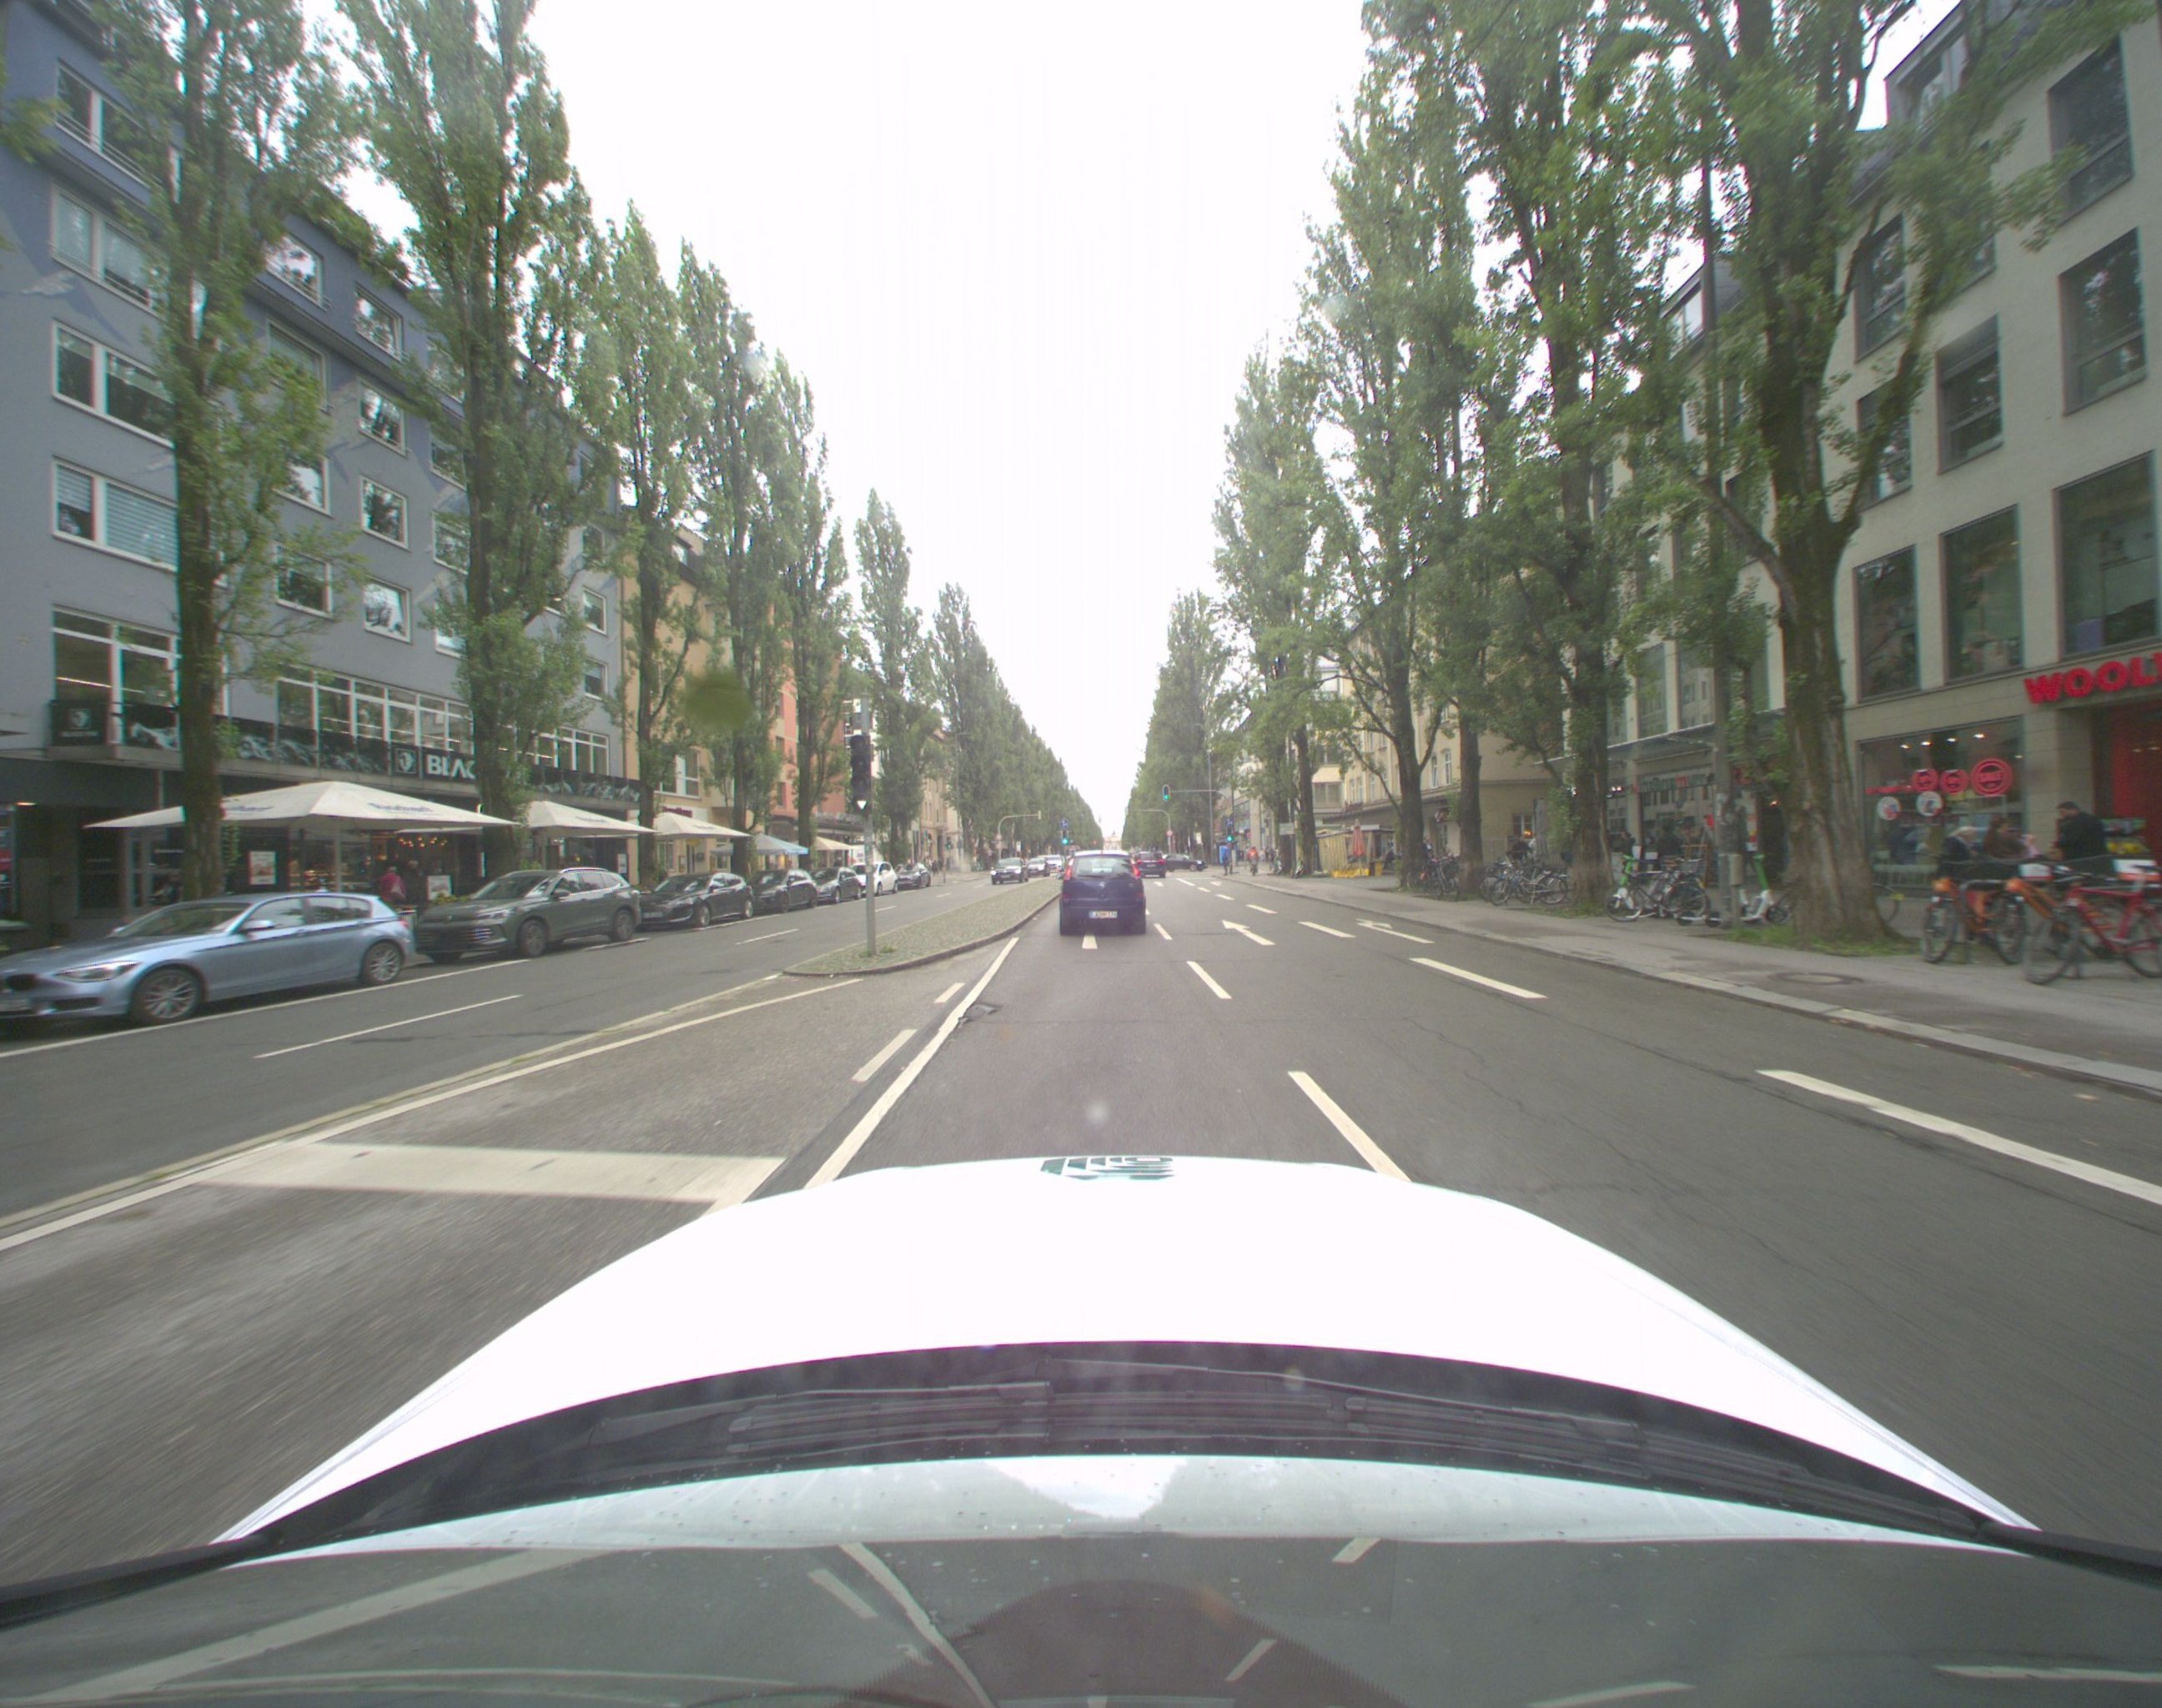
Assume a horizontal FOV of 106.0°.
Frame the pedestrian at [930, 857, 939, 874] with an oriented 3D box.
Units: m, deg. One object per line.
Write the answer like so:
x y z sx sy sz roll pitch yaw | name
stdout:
-14.392 1.119 80.027 0.748 1.567 0.989 -2 0 -1 | pedestrian

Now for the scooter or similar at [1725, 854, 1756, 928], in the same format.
10.866 0.583 13.405 0.282 1.169 1.251 -1 -1 44 | scooter or similar

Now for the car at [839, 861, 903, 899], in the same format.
-9.780 1.169 38.221 1.696 1.583 4.098 -3 -1 2 | car

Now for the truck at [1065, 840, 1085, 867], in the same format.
-0.794 -0.107 117.487 2.453 3.670 8.444 -2 0 2 | truck

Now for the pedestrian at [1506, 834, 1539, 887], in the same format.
14.458 0.205 26.653 0.654 1.710 0.691 -2 0 1 | pedestrian

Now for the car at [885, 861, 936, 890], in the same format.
-9.475 1.180 45.584 1.696 1.438 4.592 -3 -1 2 | car

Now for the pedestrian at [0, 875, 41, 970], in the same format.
-19.549 1.239 14.627 0.706 1.672 0.756 -2 0 2 | pedestrian

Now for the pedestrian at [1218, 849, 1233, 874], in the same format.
9.458 0.514 53.359 0.763 1.609 0.864 -2 0 -2 | pedestrian

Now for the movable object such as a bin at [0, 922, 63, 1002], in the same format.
-15.115 1.523 11.516 0.733 1.047 0.656 -2 0 -37 | movable object such as a bin

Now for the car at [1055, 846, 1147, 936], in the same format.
0.422 0.686 17.054 1.675 1.641 4.001 -1 0 1 | car

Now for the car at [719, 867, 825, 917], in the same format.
-10.314 1.221 27.562 1.696 1.412 4.436 -3 -1 2 | car

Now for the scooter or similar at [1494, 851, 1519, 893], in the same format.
13.275 0.541 25.445 0.246 1.273 1.037 -2 0 3 | scooter or similar

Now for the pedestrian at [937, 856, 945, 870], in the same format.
-17.575 1.126 102.262 0.696 1.787 0.821 -2 0 3 | pedestrian

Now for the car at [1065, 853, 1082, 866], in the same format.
-0.876 0.677 101.453 1.836 1.501 4.988 -3 0 2 | car

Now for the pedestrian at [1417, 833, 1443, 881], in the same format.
13.790 0.103 32.206 0.653 1.851 0.907 -2 0 4 | pedestrian

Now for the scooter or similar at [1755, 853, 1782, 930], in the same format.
11.049 0.579 13.075 0.303 1.169 1.252 -1 -1 41 | scooter or similar

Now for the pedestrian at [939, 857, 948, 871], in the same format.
-16.232 1.160 96.161 0.775 1.618 0.935 -2 0 2 | pedestrian

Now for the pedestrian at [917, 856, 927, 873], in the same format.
-16.660 1.112 85.280 0.796 1.787 0.912 0 0 2 | pedestrian

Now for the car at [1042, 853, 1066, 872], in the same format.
-2.543 0.792 77.665 1.836 1.636 4.579 -3 0 3 | car

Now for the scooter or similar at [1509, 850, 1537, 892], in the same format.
13.778 0.512 25.407 0.329 1.273 1.037 -2 0 2 | scooter or similar

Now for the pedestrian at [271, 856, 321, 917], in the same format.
-24.113 0.991 25.029 0.777 1.804 0.744 -2 0 4 | pedestrian

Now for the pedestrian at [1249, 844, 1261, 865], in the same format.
15.418 0.080 72.044 0.815 1.818 0.891 -1 0 1 | pedestrian

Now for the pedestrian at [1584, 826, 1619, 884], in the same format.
16.468 0.028 25.769 0.653 1.784 0.674 -2 0 3 | pedestrian

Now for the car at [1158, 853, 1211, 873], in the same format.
8.484 0.741 66.989 3.948 1.461 1.771 -2 0 35 | car

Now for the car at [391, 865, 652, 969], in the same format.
-10.812 1.113 16.266 1.772 1.680 4.590 -3 -1 4 | car

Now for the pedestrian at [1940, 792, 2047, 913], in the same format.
14.694 -0.017 13.144 0.748 1.869 0.822 -2 0 5 | pedestrian

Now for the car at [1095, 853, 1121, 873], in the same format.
2.158 0.719 65.085 1.986 1.497 4.001 -2 0 1 | car

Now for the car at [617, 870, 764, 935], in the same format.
-10.463 1.243 22.226 1.670 1.466 4.372 -3 -1 2 | car

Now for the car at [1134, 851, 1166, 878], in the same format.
4.265 0.652 50.907 1.700 1.574 4.002 -2 0 2 | car

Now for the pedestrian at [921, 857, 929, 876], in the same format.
-13.864 1.090 72.335 0.584 1.691 0.514 -2 0 2 | pedestrian

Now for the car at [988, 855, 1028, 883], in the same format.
-4.153 0.853 47.035 1.750 1.465 4.052 -4 -1 2 | car

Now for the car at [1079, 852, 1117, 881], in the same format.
0.965 0.677 45.788 1.986 1.497 4.001 -2 0 1 | car

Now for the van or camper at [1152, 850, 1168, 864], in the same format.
10.773 0.439 110.985 1.861 1.883 4.905 -1 0 2 | van or camper

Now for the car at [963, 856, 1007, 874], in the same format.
-8.749 0.972 74.273 3.700 1.475 1.762 -2 0 -17 | car

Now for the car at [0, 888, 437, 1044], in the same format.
-11.011 1.262 10.588 1.652 1.418 4.401 -3 -1 1 | car

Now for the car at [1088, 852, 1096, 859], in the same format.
2.747 0.456 210.250 1.906 1.681 4.588 -2 0 2 | car

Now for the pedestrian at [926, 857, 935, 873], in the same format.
-15.802 1.184 85.399 0.729 1.681 0.978 0 0 2 | pedestrian

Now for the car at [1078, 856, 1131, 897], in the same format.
0.950 0.851 32.860 1.986 1.497 4.001 -2 0 1 | car

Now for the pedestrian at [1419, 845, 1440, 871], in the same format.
17.957 0.205 41.944 0.772 1.264 0.700 -2 0 2 | pedestrian

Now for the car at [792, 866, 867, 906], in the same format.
-10.038 1.242 32.826 1.488 1.381 4.189 -3 -1 2 | car

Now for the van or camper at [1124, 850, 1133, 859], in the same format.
14.409 0.072 247.493 2.467 2.581 5.848 -2 0 3 | van or camper

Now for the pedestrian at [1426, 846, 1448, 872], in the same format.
17.806 0.229 40.733 0.772 1.264 0.700 -2 0 2 | pedestrian

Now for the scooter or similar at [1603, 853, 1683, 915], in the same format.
10.861 0.586 15.774 1.228 1.169 0.406 -2 -2 31 | scooter or similar

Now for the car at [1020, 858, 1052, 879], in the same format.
-3.288 1.013 60.222 1.829 1.361 4.179 -4 0 2 | car
